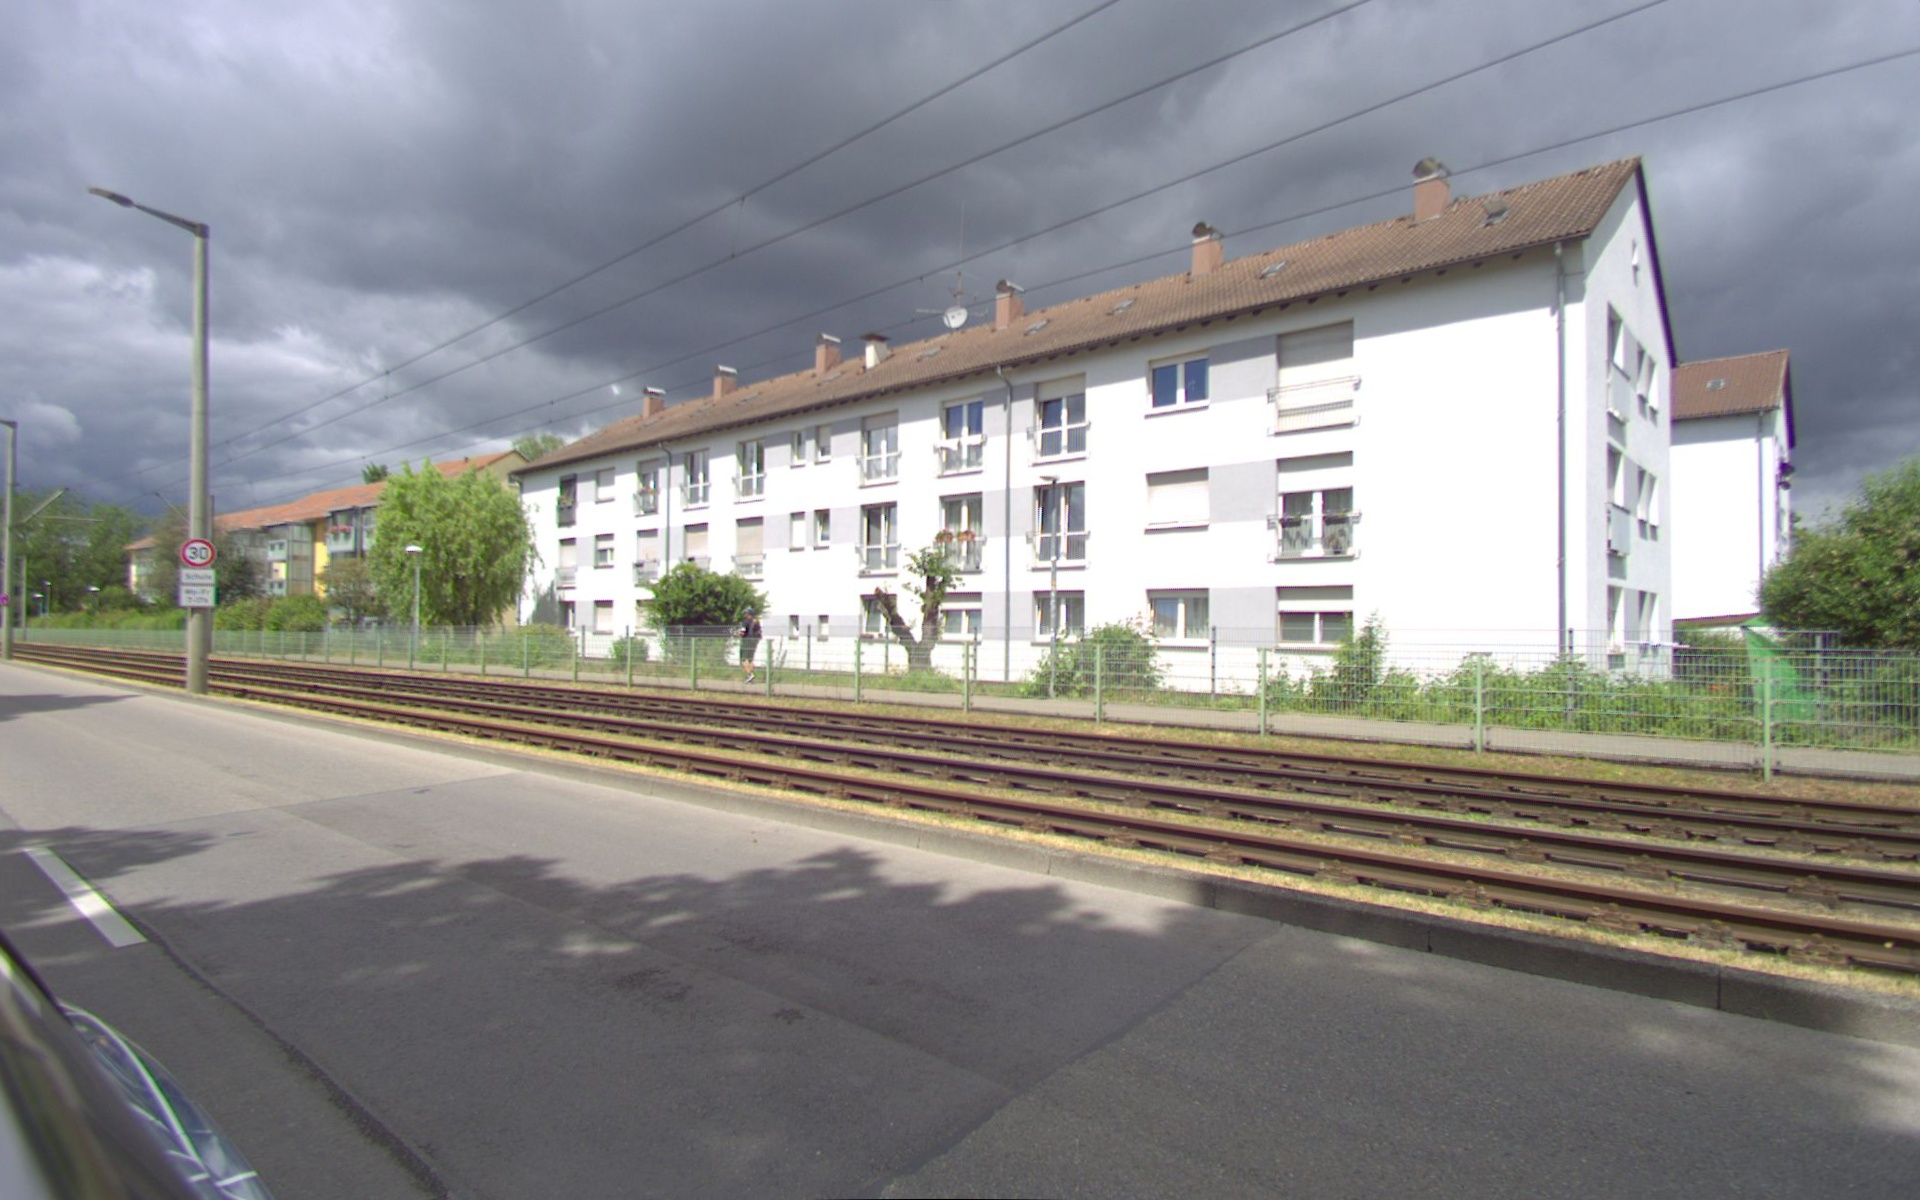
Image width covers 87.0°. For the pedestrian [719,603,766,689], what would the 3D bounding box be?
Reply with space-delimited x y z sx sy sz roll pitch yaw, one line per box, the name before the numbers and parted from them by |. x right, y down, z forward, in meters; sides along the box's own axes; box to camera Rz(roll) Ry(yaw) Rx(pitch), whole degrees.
pedestrian | -4.838 1.028 22.510 0.768 1.863 0.652 -2 -4 41
